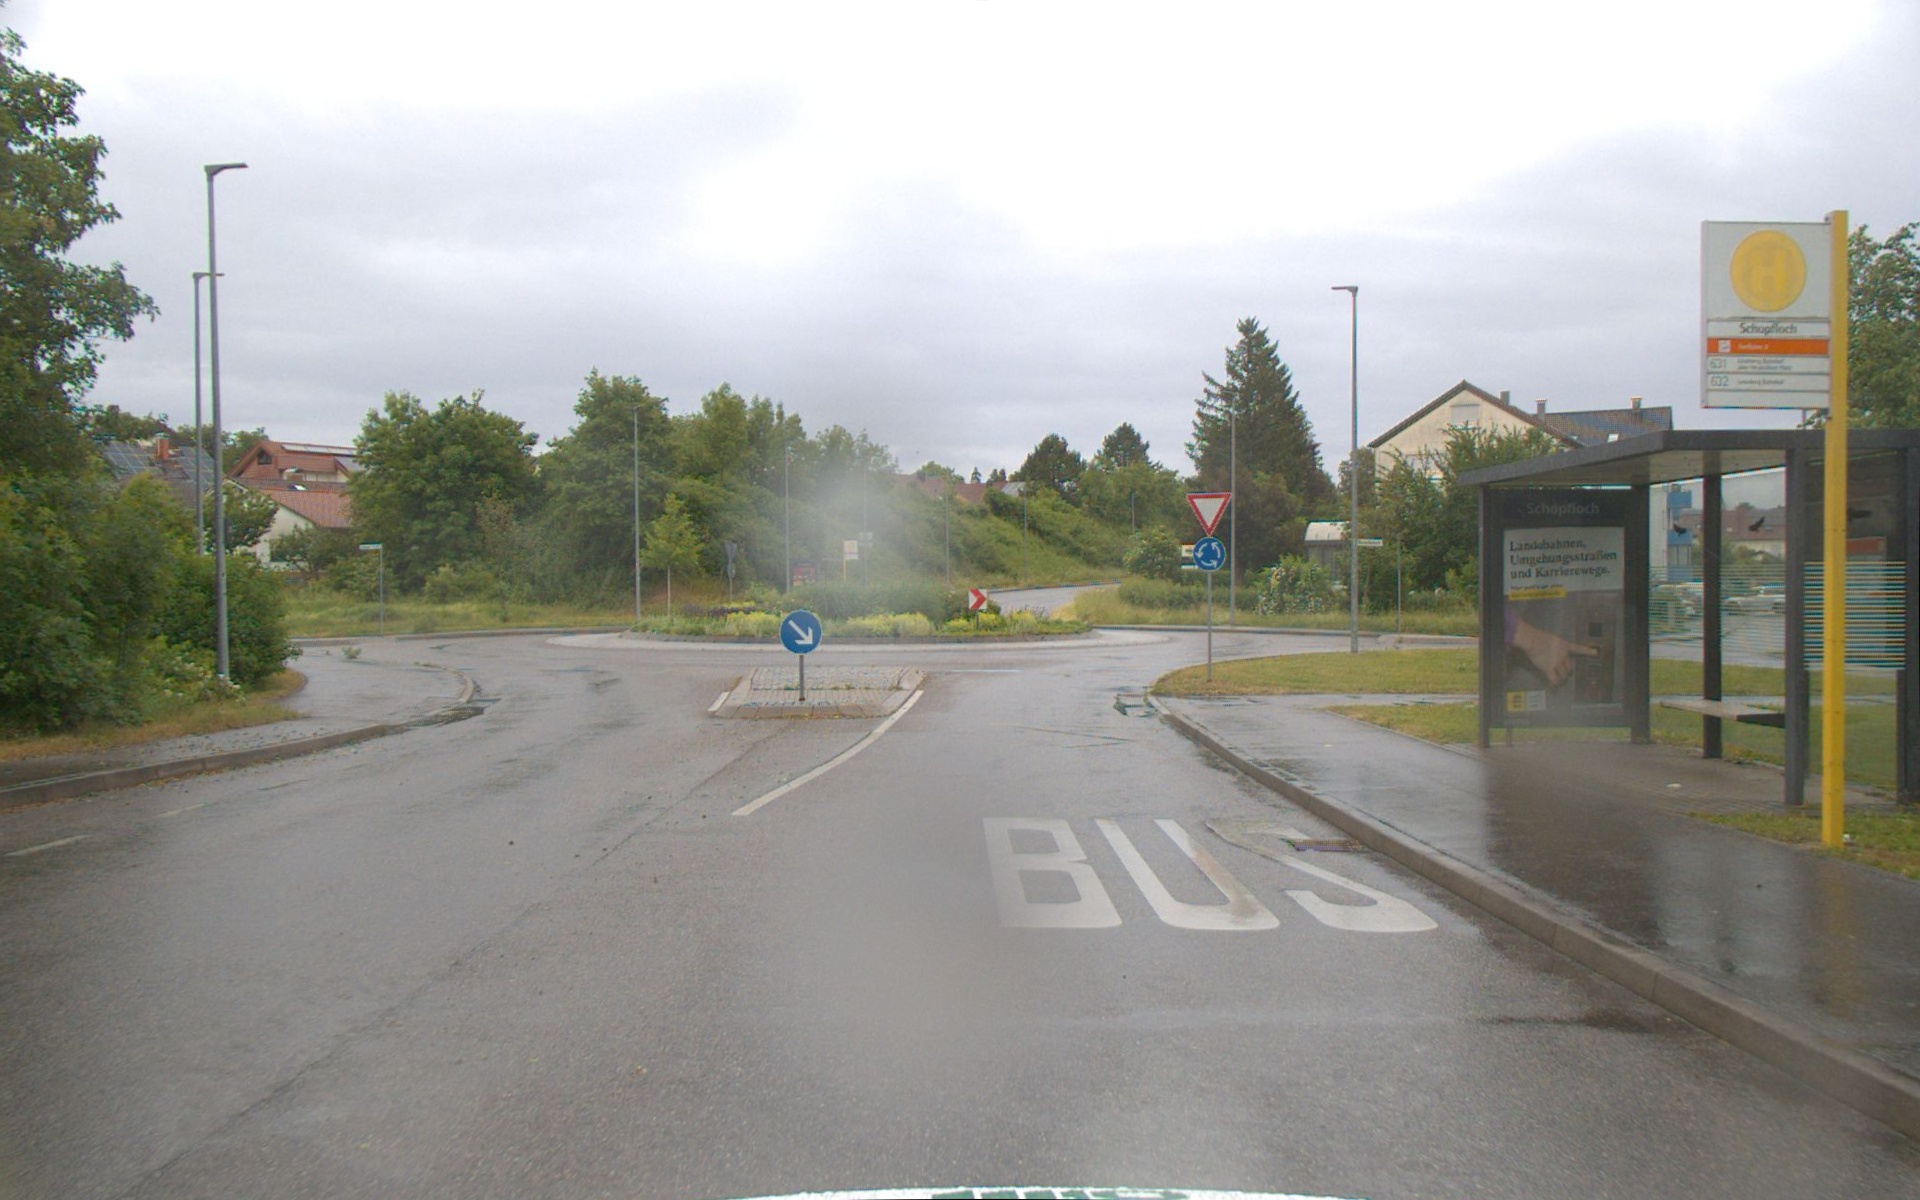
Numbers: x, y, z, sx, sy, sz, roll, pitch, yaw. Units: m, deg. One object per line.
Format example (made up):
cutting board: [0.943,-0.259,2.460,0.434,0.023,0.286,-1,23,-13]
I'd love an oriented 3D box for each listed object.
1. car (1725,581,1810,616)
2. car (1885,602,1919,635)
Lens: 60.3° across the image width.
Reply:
car: [45.452,-0.086,93.084,3.929,1.859,1.885,-1,-1,43]
car: [42.164,0.798,71.361,3.912,1.398,1.781,0,1,29]
